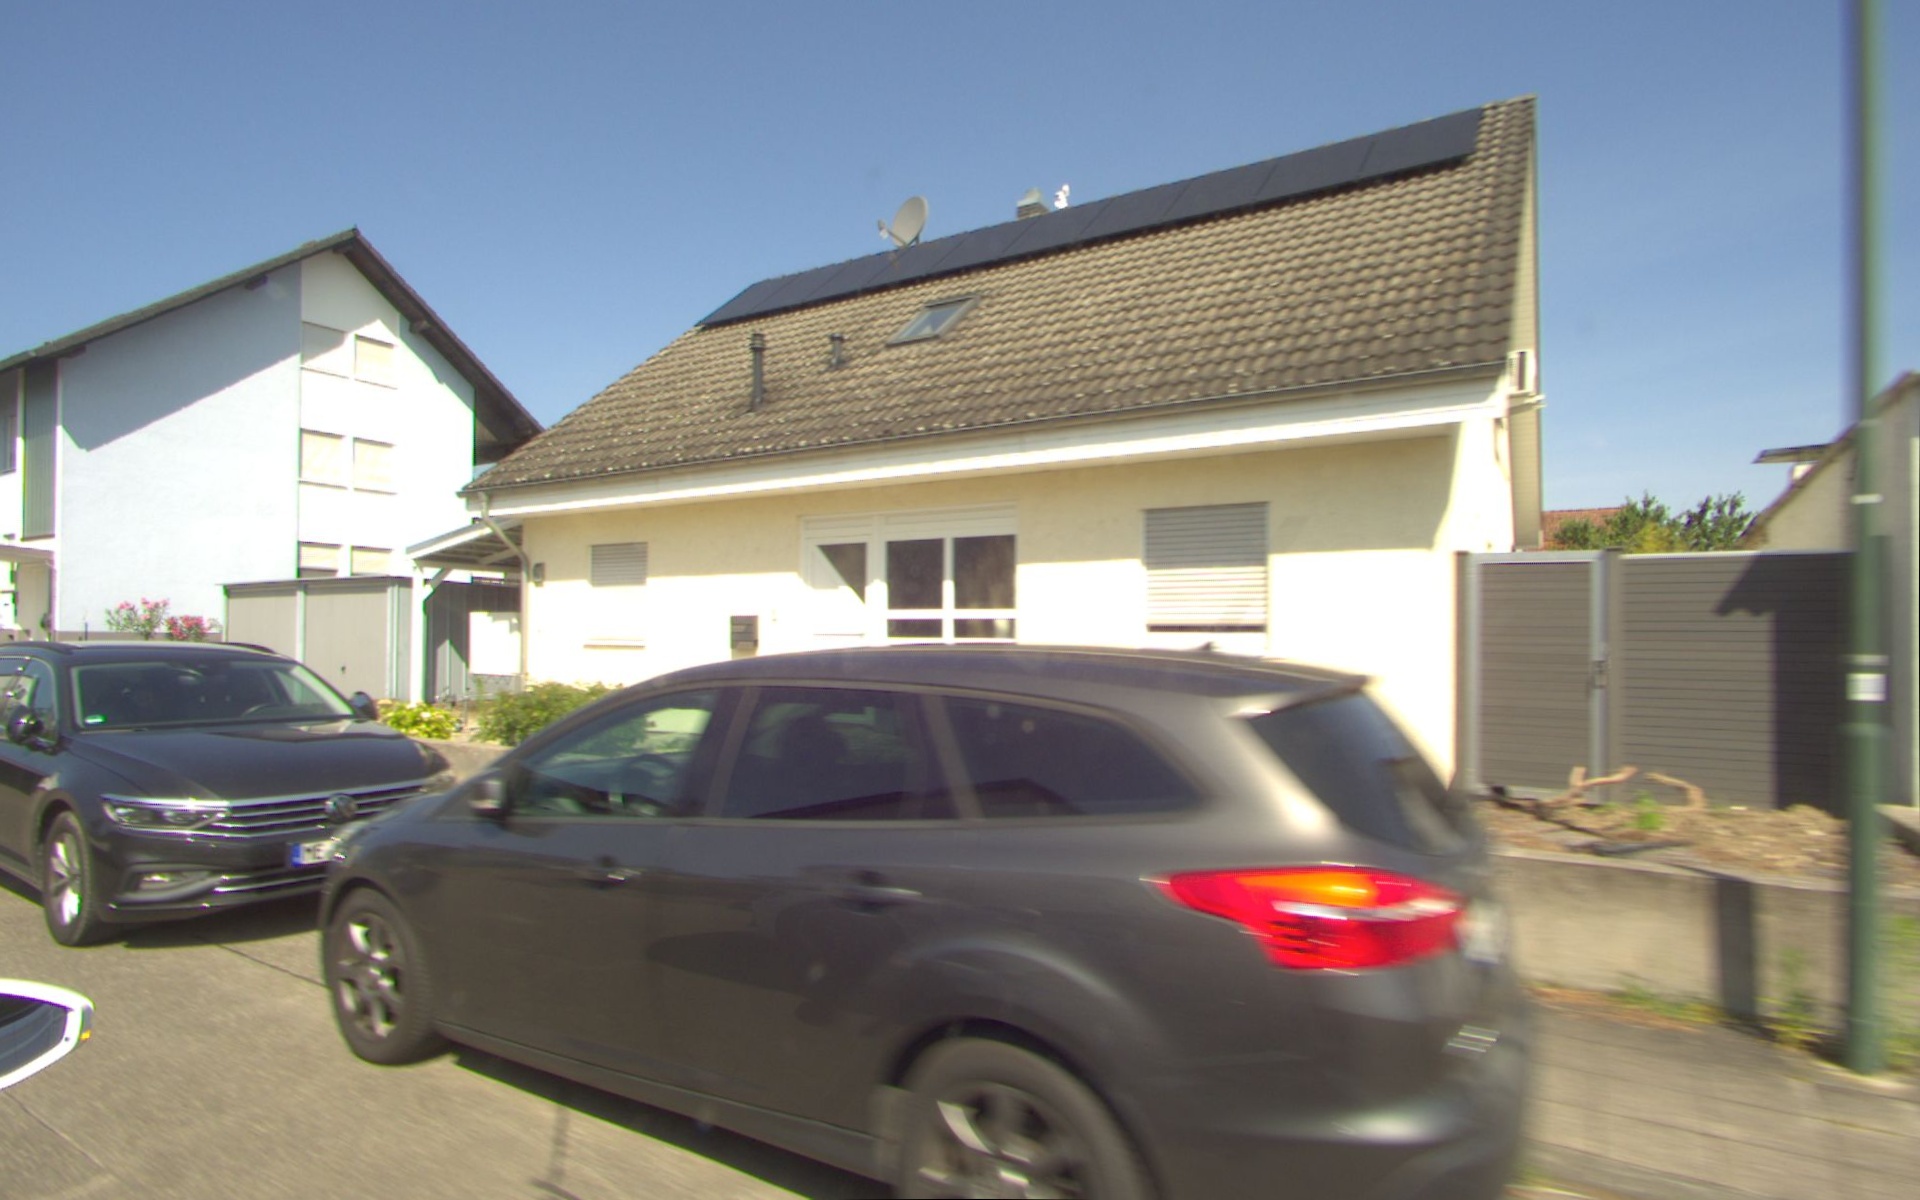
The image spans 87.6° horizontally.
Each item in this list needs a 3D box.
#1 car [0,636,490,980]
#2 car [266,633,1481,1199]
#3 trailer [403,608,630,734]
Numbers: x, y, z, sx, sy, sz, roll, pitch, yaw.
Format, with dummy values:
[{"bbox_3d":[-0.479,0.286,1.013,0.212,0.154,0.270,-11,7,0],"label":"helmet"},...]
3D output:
[{"bbox_3d":[-5.009,0.964,6.244,4.441,1.456,1.714,-1,-3,34],"label":"car"},{"bbox_3d":[-0.480,0.925,3.449,3.941,1.497,1.641,0,-3,31],"label":"car"},{"bbox_3d":[-6.597,1.013,15.104,1.382,1.711,2.829,0,-2,32],"label":"trailer"}]
